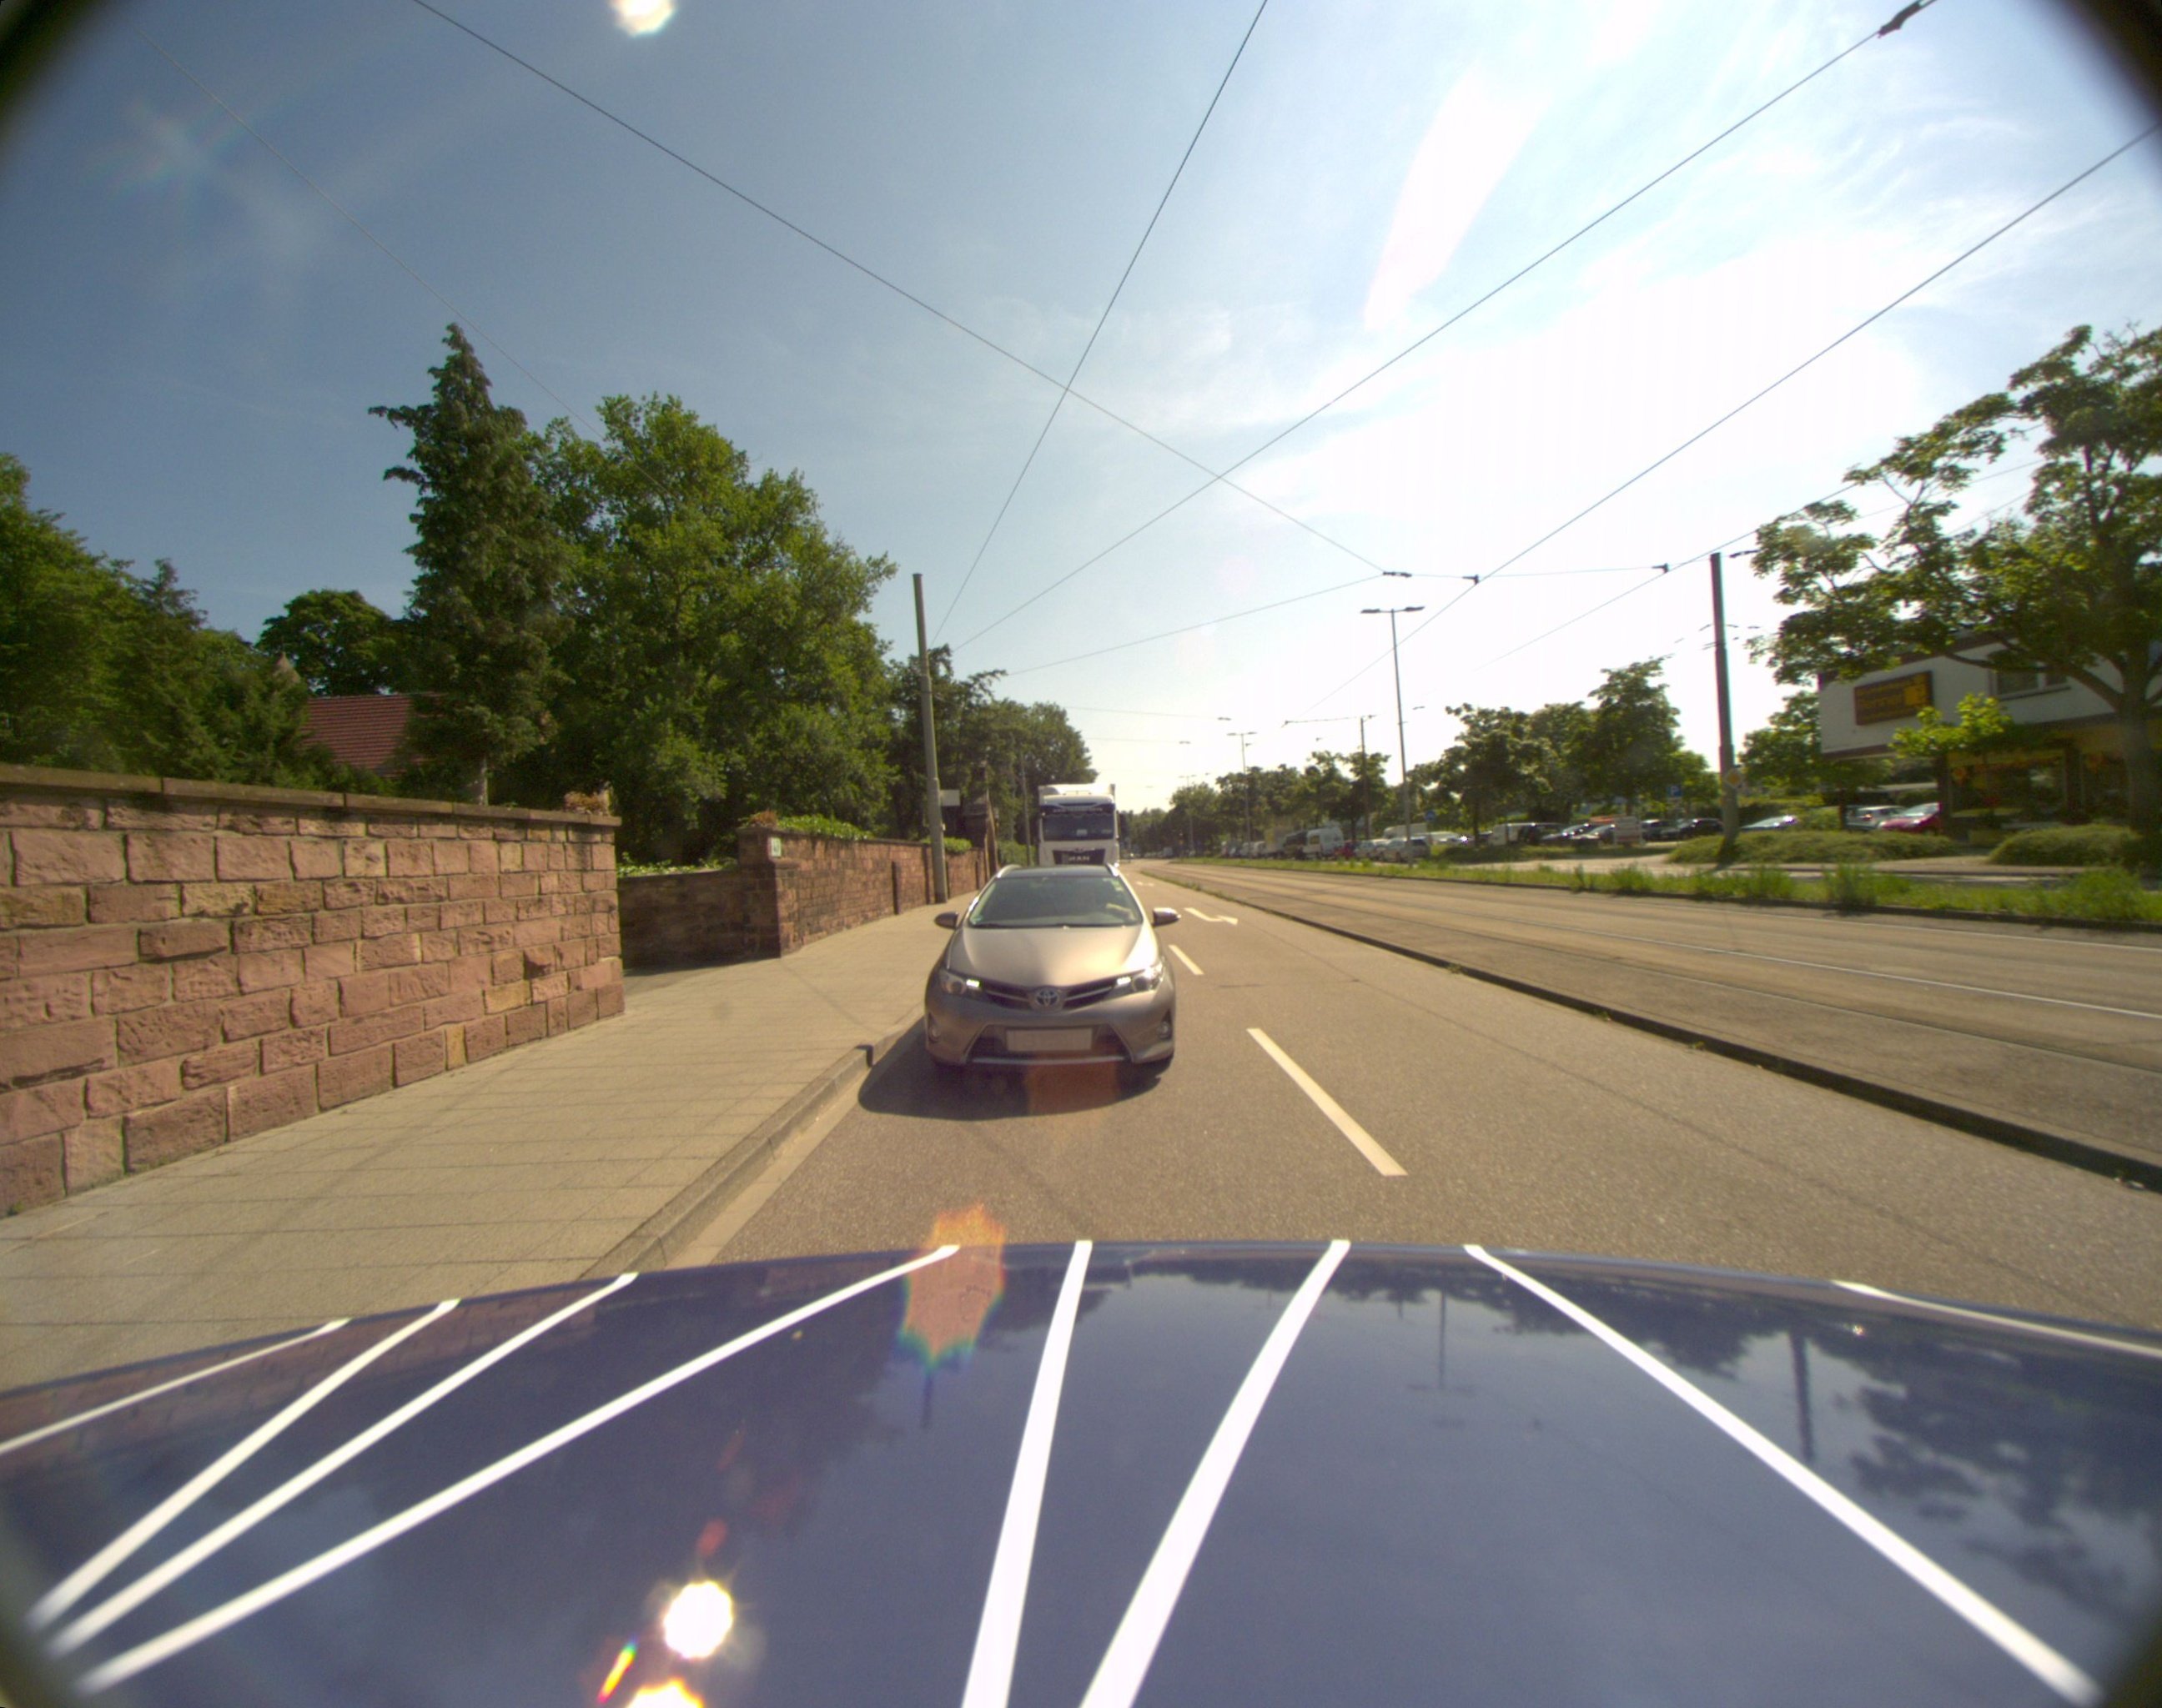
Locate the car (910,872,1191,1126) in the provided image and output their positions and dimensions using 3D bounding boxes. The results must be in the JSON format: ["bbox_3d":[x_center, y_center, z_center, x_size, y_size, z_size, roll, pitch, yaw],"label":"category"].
[{"bbox_3d":[-0.164,0.931,6.601,1.654,1.374,4.000,-2,0,1],"label":"car"}]

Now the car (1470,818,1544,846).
[{"bbox_3d":[30.549,-1.582,54.587,4.117,1.728,1.990,-3,0,-2],"label":"car"}]

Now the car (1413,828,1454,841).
[{"bbox_3d":[43.766,-2.443,94.484,4.253,1.327,1.676,-3,0,1],"label":"car"}]

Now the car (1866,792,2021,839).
[{"bbox_3d":[35.230,-1.538,31.129,4.252,1.595,1.676,-3,0,2],"label":"car"}]

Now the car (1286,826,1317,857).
[{"bbox_3d":[20.162,-1.090,69.618,1.502,2.609,4.007,-6,0,1],"label":"car"}]

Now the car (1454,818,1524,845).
[{"bbox_3d":[30.604,-1.652,57.094,4.117,1.728,1.990,-3,0,-2],"label":"car"}]

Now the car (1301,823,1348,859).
[{"bbox_3d":[20.248,-1.055,63.414,2.062,2.638,5.203,-6,0,1],"label":"car"}]

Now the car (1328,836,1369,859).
[{"bbox_3d":[20.431,-0.502,58.164,1.675,1.524,3.793,-6,0,1],"label":"car"}]

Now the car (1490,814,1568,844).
[{"bbox_3d":[30.708,-1.675,52.116,4.117,1.728,1.990,-3,0,-2],"label":"car"}]

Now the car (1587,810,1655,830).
[{"bbox_3d":[43.987,-2.739,61.930,4.254,1.327,1.676,-3,0,-1],"label":"car"}]

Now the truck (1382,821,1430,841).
[{"bbox_3d":[44.679,-3.209,104.645,5.652,2.367,1.990,-3,0,-2],"label":"truck"}]

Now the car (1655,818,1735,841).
[{"bbox_3d":[43.806,-1.751,54.280,4.252,1.327,1.676,-3,0,2],"label":"car"}]

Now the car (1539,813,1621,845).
[{"bbox_3d":[30.526,-1.511,46.563,3.810,1.625,1.676,-3,0,2],"label":"car"}]

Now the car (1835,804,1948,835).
[{"bbox_3d":[44.294,-1.876,41.582,4.252,1.327,1.676,-3,0,2],"label":"car"}]

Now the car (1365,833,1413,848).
[{"bbox_3d":[32.342,-1.435,79.844,4.253,1.327,1.676,-3,0,1],"label":"car"}]

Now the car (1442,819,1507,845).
[{"bbox_3d":[31.249,-1.746,60.425,4.117,1.728,1.990,-3,0,-2],"label":"car"}]

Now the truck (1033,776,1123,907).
[{"bbox_3d":[0.009,-0.434,27.701,2.628,3.906,9.285,-2,1,1],"label":"truck"}]

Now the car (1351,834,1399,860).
[{"bbox_3d":[20.465,-0.478,53.067,1.675,1.524,4.256,-6,0,1],"label":"car"}]

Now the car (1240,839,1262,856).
[{"bbox_3d":[20.921,-0.786,93.640,1.502,1.835,4.059,-6,0,0],"label":"car"}]

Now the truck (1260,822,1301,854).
[{"bbox_3d":[20.445,-1.616,78.263,2.508,2.917,5.903,-6,0,2],"label":"truck"}]

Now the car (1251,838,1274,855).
[{"bbox_3d":[20.684,-0.863,86.751,1.502,1.793,4.633,-6,0,1],"label":"car"}]

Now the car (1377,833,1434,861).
[{"bbox_3d":[20.275,-0.435,47.639,1.675,1.524,4.256,-6,0,1],"label":"car"}]

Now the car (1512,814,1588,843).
[{"bbox_3d":[30.591,-1.626,49.610,3.810,1.625,1.676,-3,0,2],"label":"car"}]

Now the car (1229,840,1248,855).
[{"bbox_3d":[20.658,-0.872,99.524,1.502,1.775,3.687,-6,0,0],"label":"car"}]

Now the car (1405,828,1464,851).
[{"bbox_3d":[31.190,-1.270,67.327,2.594,1.800,5.741,-3,0,2],"label":"car"}]

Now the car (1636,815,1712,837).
[{"bbox_3d":[44.197,-2.066,56.721,4.252,1.327,1.676,-3,0,2],"label":"car"}]
